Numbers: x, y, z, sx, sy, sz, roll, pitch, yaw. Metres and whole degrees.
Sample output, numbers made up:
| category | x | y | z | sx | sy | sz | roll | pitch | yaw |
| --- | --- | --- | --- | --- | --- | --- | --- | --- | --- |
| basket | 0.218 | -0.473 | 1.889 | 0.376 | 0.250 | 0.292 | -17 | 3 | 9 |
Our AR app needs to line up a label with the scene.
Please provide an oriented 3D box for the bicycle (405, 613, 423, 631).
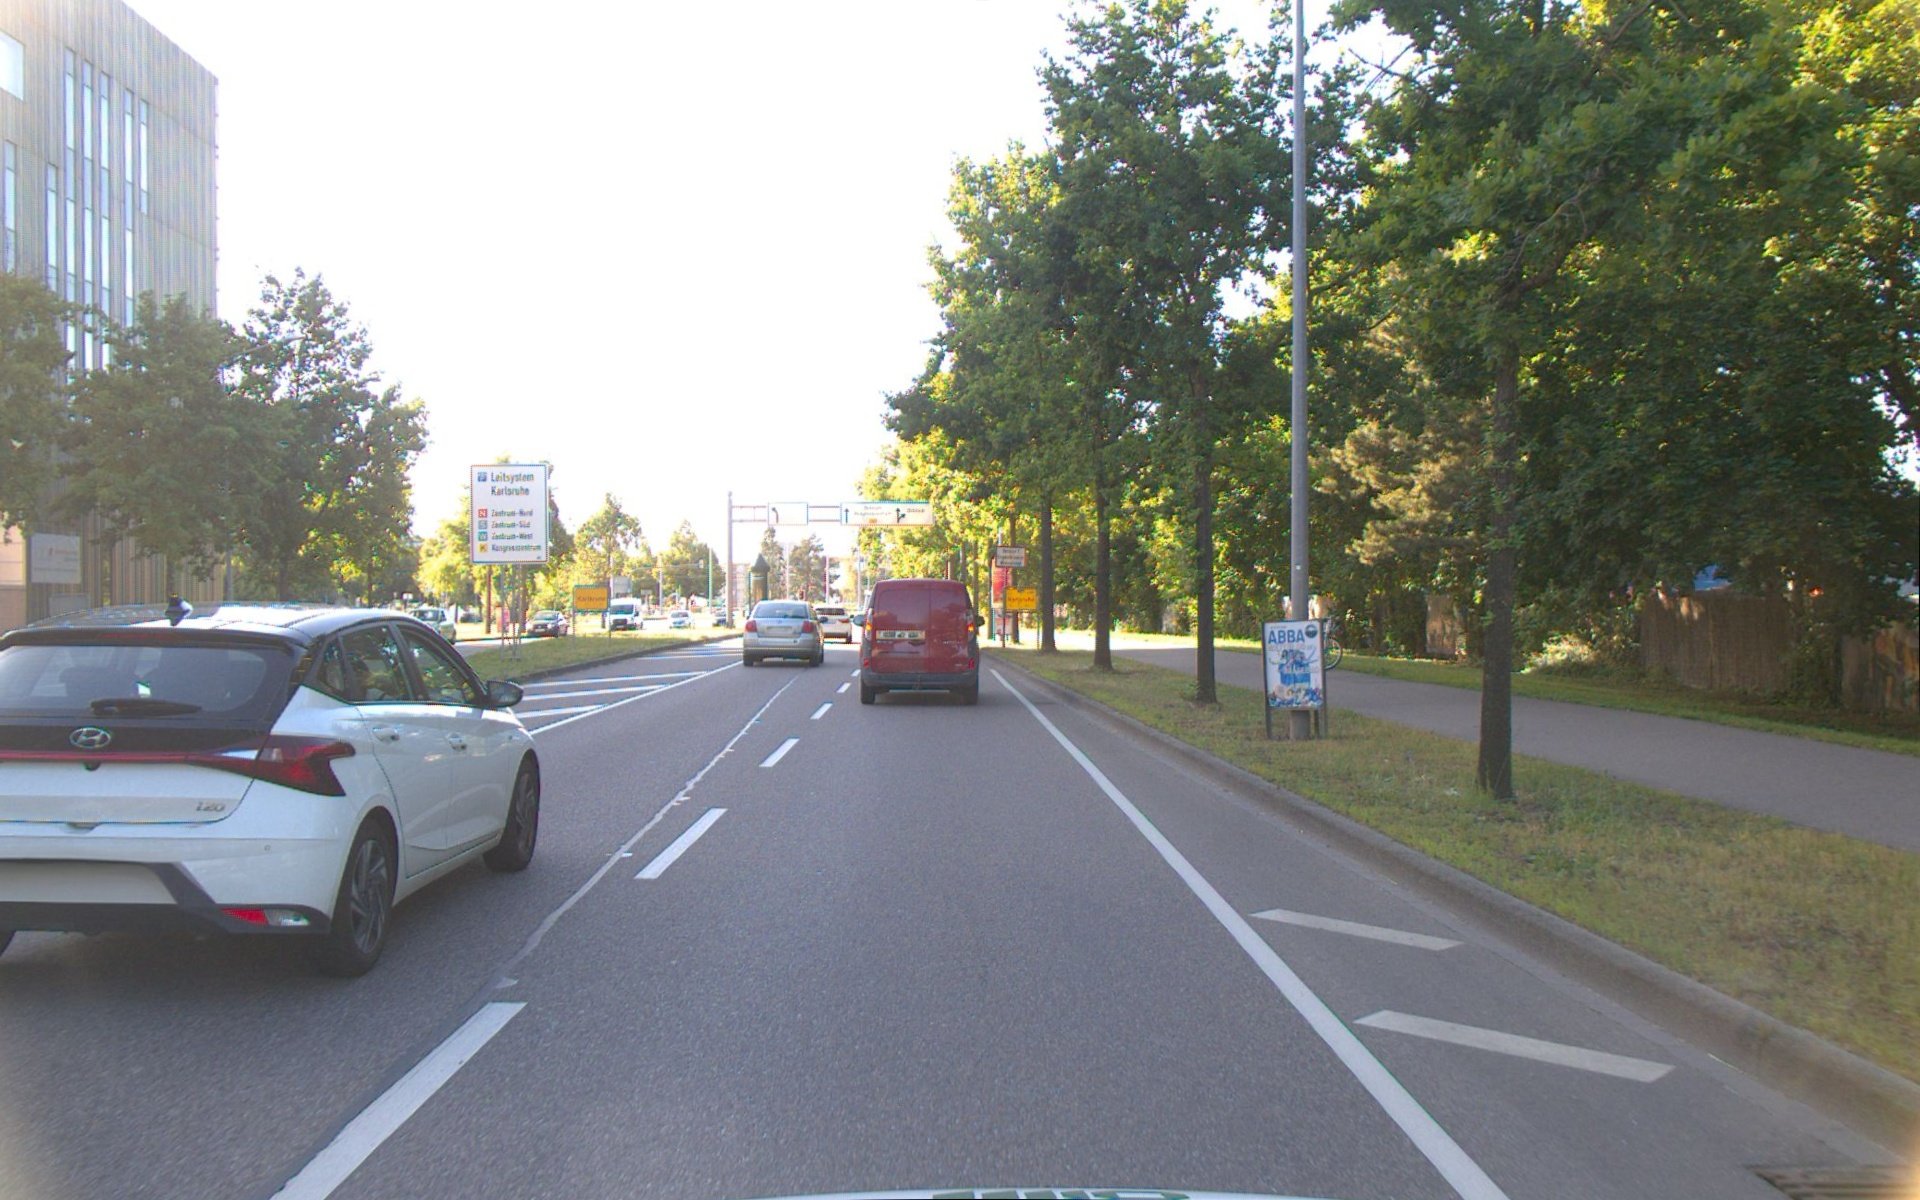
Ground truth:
| category | x | y | z | sx | sy | sz | roll | pitch | yaw |
| --- | --- | --- | --- | --- | --- | --- | --- | --- | --- |
| bicycle | -31.341 | 1.279 | 94.910 | 0.477 | 1.021 | 2.094 | 0 | -1 | -4 |

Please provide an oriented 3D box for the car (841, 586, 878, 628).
| category | x | y | z | sx | sy | sz | roll | pitch | yaw |
| --- | --- | --- | --- | --- | --- | --- | --- | --- | --- |
| car | -4.584 | 0.311 | 75.466 | 1.628 | 1.889 | 3.556 | 0 | 0 | -3 |

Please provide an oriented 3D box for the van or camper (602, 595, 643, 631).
| category | x | y | z | sx | sy | sz | roll | pitch | yaw |
| --- | --- | --- | --- | --- | --- | --- | --- | --- | --- |
| van or camper | -23.874 | 0.900 | 117.191 | 1.954 | 2.410 | 5.989 | -2 | 0 | -3 |

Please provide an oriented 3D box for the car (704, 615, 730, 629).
| category | x | y | z | sx | sy | sz | roll | pitch | yaw |
| --- | --- | --- | --- | --- | --- | --- | --- | --- | --- |
| car | -19.671 | 1.777 | 134.009 | 1.792 | 1.131 | 4.170 | -1 | 0 | -5 |

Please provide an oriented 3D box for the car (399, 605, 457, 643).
| category | x | y | z | sx | sy | sz | roll | pitch | yaw |
| --- | --- | --- | --- | --- | --- | --- | --- | --- | --- |
| car | -21.197 | 0.927 | 66.036 | 1.417 | 1.461 | 3.456 | 0 | 0 | -4 |

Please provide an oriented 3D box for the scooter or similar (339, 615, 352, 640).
| category | x | y | z | sx | sy | sz | roll | pitch | yaw |
| --- | --- | --- | --- | --- | --- | --- | --- | --- | --- |
| scooter or similar | -29.110 | 1.305 | 78.357 | 0.226 | 1.169 | 1.327 | 0 | -1 | -3 |

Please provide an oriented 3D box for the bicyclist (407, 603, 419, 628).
| category | x | y | z | sx | sy | sz | roll | pitch | yaw |
| --- | --- | --- | --- | --- | --- | --- | --- | --- | --- |
| bicyclist | -31.342 | 0.868 | 94.778 | 0.473 | 1.419 | 0.844 | 0 | -1 | -4 |

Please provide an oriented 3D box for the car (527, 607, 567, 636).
| category | x | y | z | sx | sy | sz | roll | pitch | yaw |
| --- | --- | --- | --- | --- | --- | --- | --- | --- | --- |
| car | -22.860 | 1.172 | 91.670 | 1.520 | 1.534 | 4.023 | 0 | 0 | -4 |

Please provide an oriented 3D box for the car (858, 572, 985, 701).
| category | x | y | z | sx | sy | sz | roll | pitch | yaw |
| --- | --- | --- | --- | --- | --- | --- | --- | --- | --- |
| car | -0.652 | 0.518 | 25.293 | 1.770 | 1.790 | 4.003 | 1 | 0 | -3 |

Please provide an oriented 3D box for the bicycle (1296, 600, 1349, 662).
| category | x | y | z | sx | sy | sz | roll | pitch | yaw |
| --- | --- | --- | --- | --- | --- | --- | --- | --- | --- |
| bicycle | 6.887 | 0.579 | 31.498 | 0.757 | 1.151 | 1.709 | 0 | 0 | 5 |

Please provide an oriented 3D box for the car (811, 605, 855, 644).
| category | x | y | z | sx | sy | sz | roll | pitch | yaw |
| --- | --- | --- | --- | --- | --- | --- | --- | --- | --- |
| car | -4.850 | 0.920 | 63.418 | 1.628 | 1.422 | 3.556 | 0 | 0 | -3 |

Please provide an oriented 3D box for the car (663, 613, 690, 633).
| category | x | y | z | sx | sy | sz | roll | pitch | yaw |
| --- | --- | --- | --- | --- | --- | --- | --- | --- | --- |
| car | -21.835 | 1.786 | 127.545 | 1.655 | 1.502 | 4.045 | -1 | 0 | -5 |

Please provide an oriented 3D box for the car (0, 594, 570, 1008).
| category | x | y | z | sx | sy | sz | roll | pitch | yaw |
| --- | --- | --- | --- | --- | --- | --- | --- | --- | --- |
| car | -3.154 | 0.694 | 7.793 | 1.742 | 1.433 | 4.073 | 0 | 0 | -1 |

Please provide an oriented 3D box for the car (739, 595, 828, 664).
| category | x | y | z | sx | sy | sz | roll | pitch | yaw |
| --- | --- | --- | --- | --- | --- | --- | --- | --- | --- |
| car | -4.050 | 0.649 | 38.461 | 1.804 | 1.482 | 4.160 | 1 | 0 | -3 |
